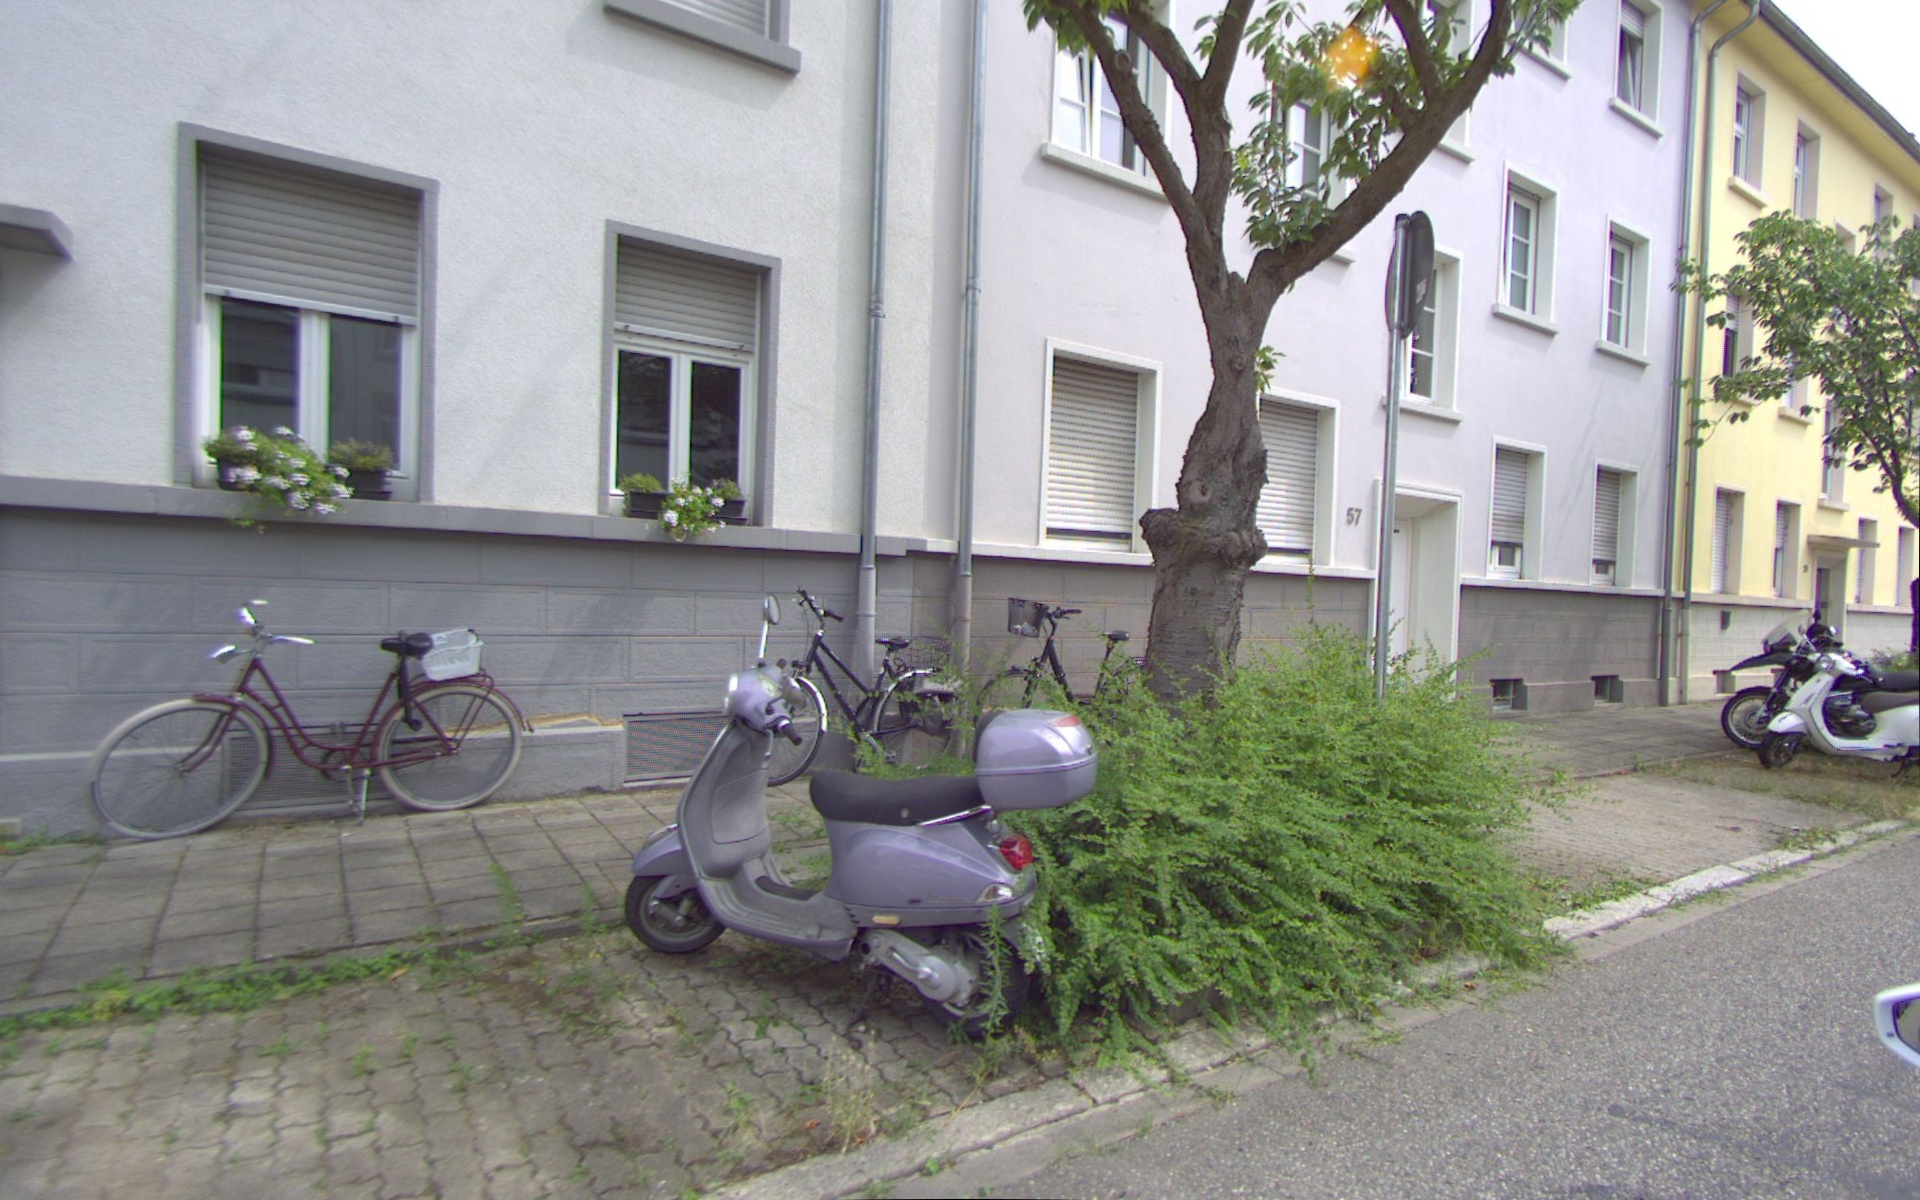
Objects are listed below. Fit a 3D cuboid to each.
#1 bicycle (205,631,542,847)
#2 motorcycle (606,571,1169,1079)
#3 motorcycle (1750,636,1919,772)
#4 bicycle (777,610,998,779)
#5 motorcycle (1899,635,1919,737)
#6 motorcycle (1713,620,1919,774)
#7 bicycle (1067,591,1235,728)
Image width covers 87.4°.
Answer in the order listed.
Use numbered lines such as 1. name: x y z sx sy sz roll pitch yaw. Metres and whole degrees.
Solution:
1. bicycle: -2.914 0.657 5.096 1.418 0.979 0.308 2 -1 -33
2. motorcycle: -0.322 0.643 3.706 1.984 1.426 0.790 0 -1 33
3. motorcycle: 8.690 0.960 9.474 1.878 1.207 0.596 0 -1 31
4. bicycle: -0.451 0.590 6.617 1.418 1.020 0.418 2 -1 -33
5. motorcycle: 13.439 1.128 12.536 0.636 1.328 2.435 2 -1 -32
6. motorcycle: 9.223 0.977 10.423 2.199 1.501 0.596 0 -1 31
7. bicycle: 1.545 0.461 8.030 1.418 1.020 0.418 2 -1 -33
